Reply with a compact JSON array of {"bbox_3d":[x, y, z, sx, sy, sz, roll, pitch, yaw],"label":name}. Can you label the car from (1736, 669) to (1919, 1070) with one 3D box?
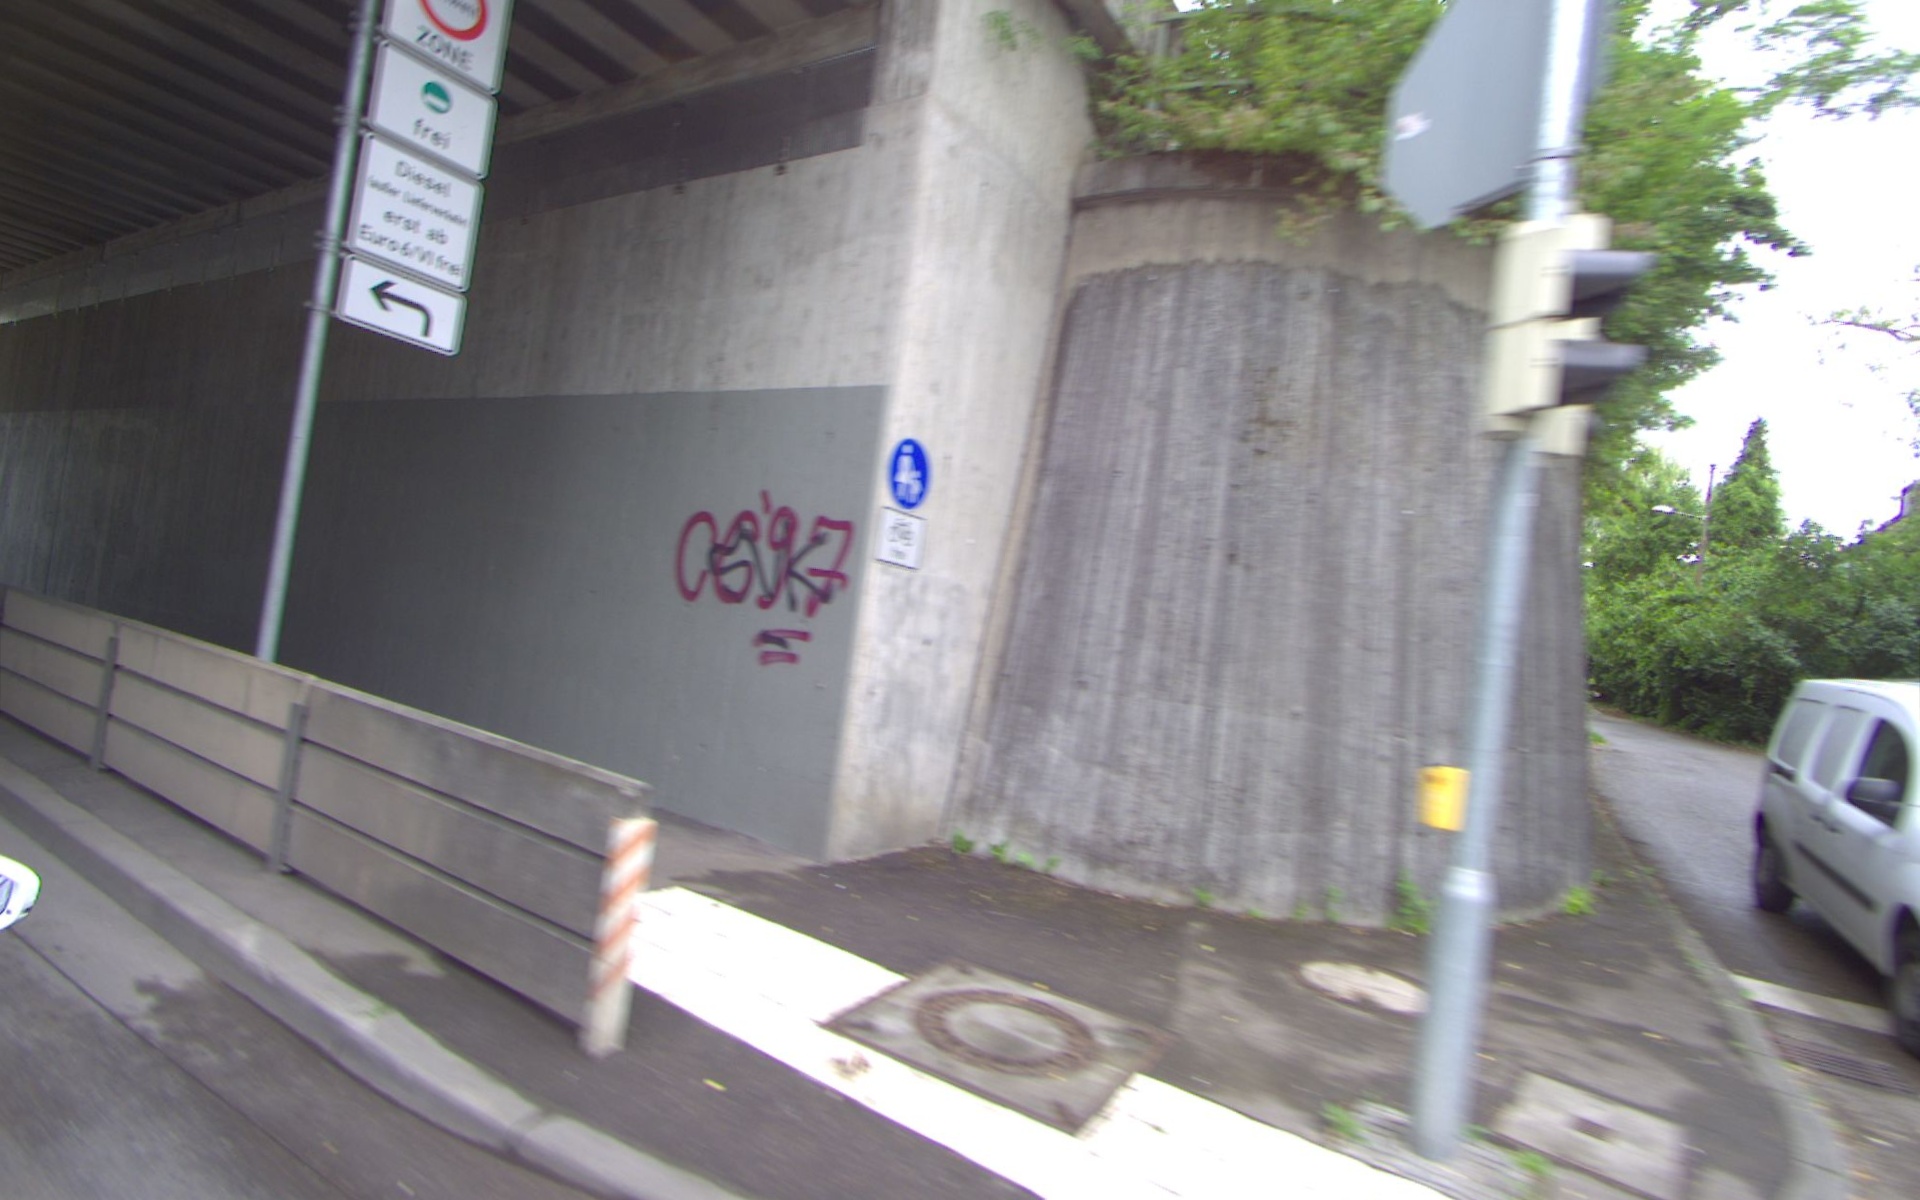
[{"bbox_3d":[6.159,1.429,5.808,1.795,1.807,4.486,6,0,28],"label":"car"}]
